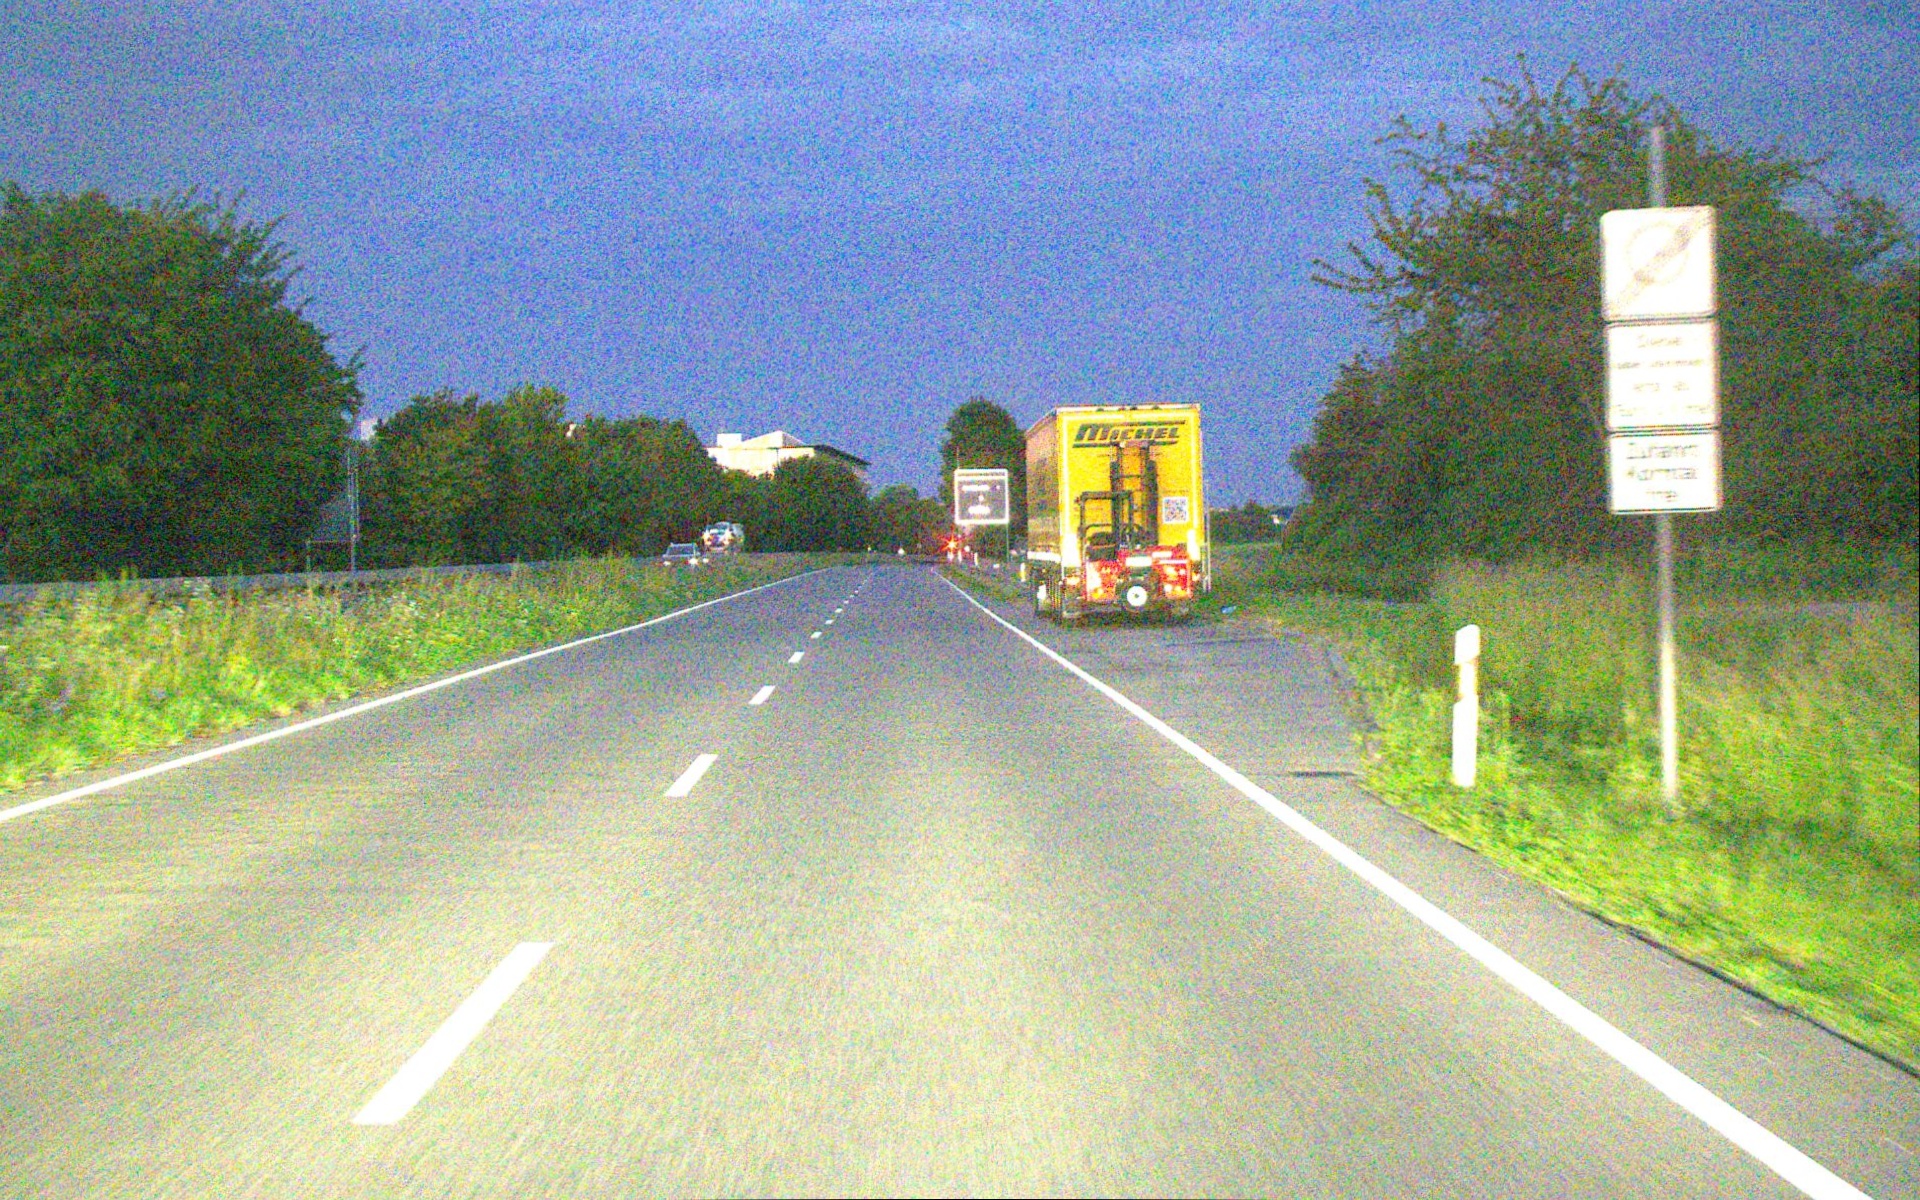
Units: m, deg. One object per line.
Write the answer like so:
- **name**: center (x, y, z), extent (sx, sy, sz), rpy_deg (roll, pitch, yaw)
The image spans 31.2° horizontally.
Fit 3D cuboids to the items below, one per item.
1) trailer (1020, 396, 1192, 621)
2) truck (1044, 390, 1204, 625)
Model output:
- **trailer**: center (2.792, -1.792, 69.526), extent (2.622, 4.090, 12.938), rpy_deg (-1, 1, -1)
- **truck**: center (2.914, -1.681, 62.612), extent (2.579, 4.057, 6.130), rpy_deg (0, 1, 0)
